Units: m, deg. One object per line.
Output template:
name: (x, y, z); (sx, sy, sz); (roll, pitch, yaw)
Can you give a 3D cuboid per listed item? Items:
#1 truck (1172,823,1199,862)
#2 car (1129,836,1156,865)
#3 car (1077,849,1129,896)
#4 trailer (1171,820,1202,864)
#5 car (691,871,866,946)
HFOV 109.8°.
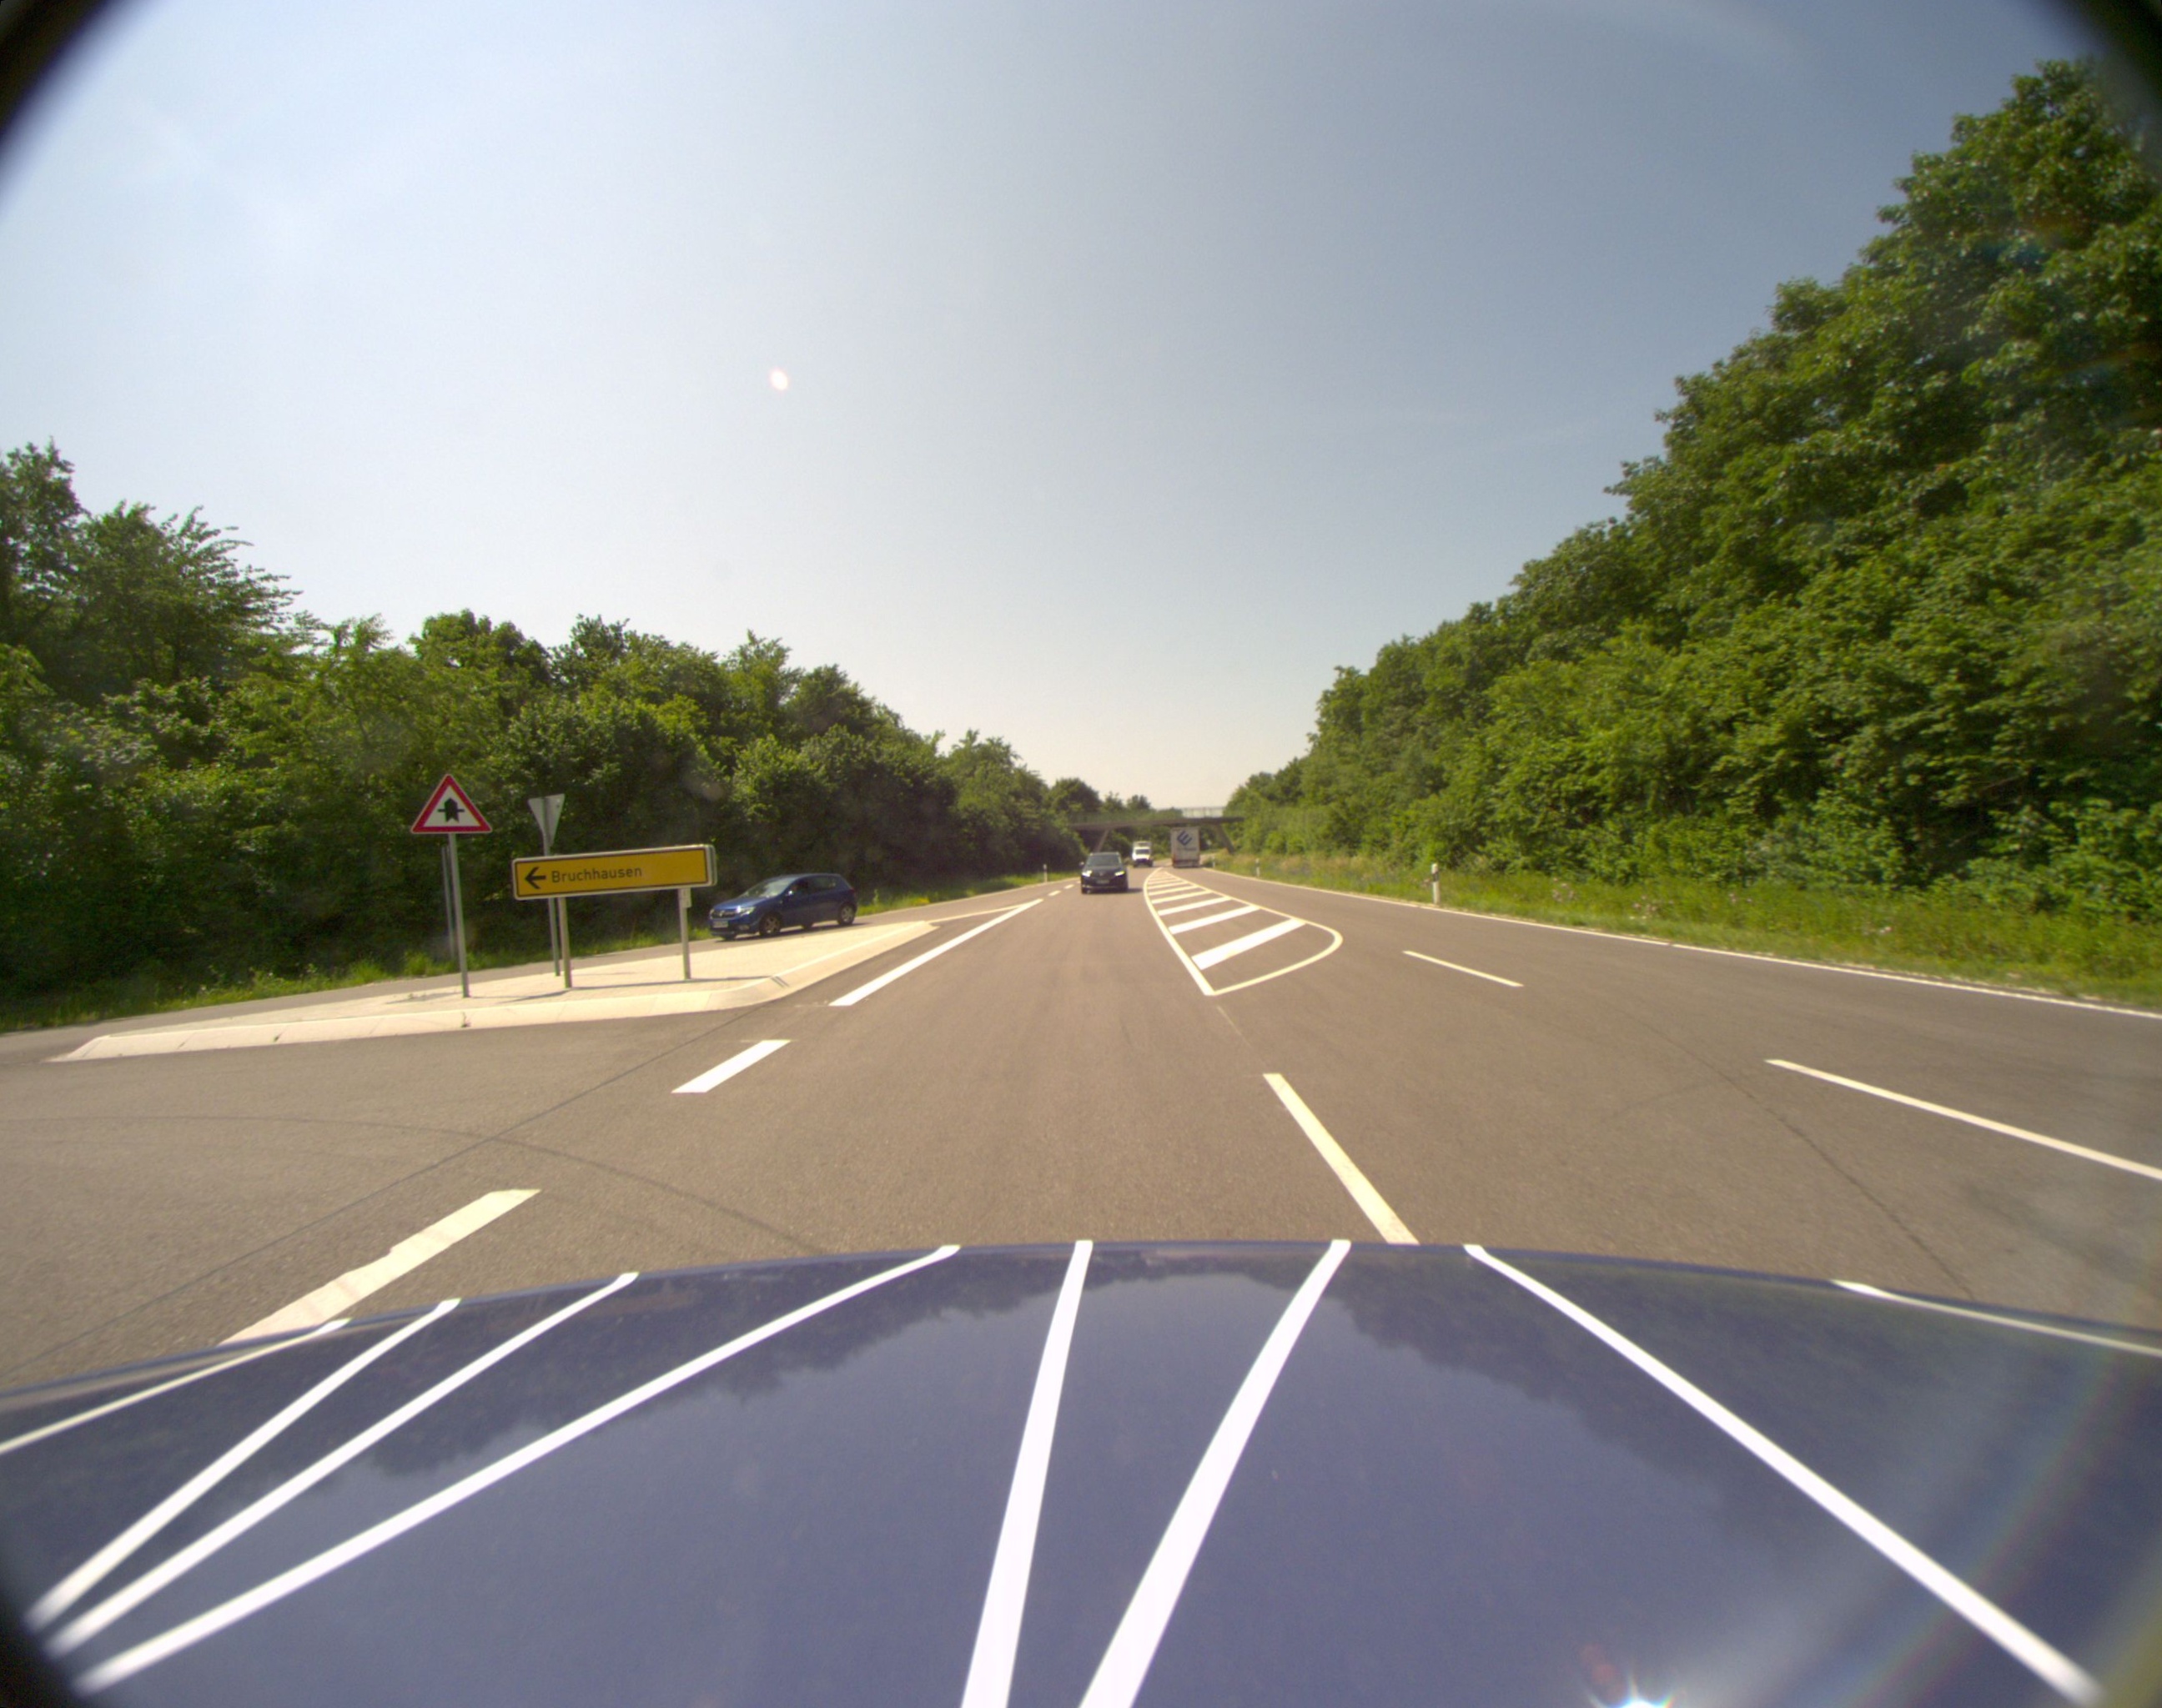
truck: (11.792, -1.234, 86.388); (2.803, 4.072, 11.068); (-2, 0, 7)
car: (7.067, -0.418, 86.413); (2.590, 3.046, 6.884); (-2, 1, 7)
car: (0.976, 0.682, 31.434); (1.924, 1.711, 5.479); (-2, 1, 3)
trailer: (10.696, -1.171, 77.673); (2.834, 4.072, 9.005); (-2, 0, 7)
car: (-7.777, 1.363, 19.942); (1.805, 1.532, 3.951); (-4, 0, 27)
